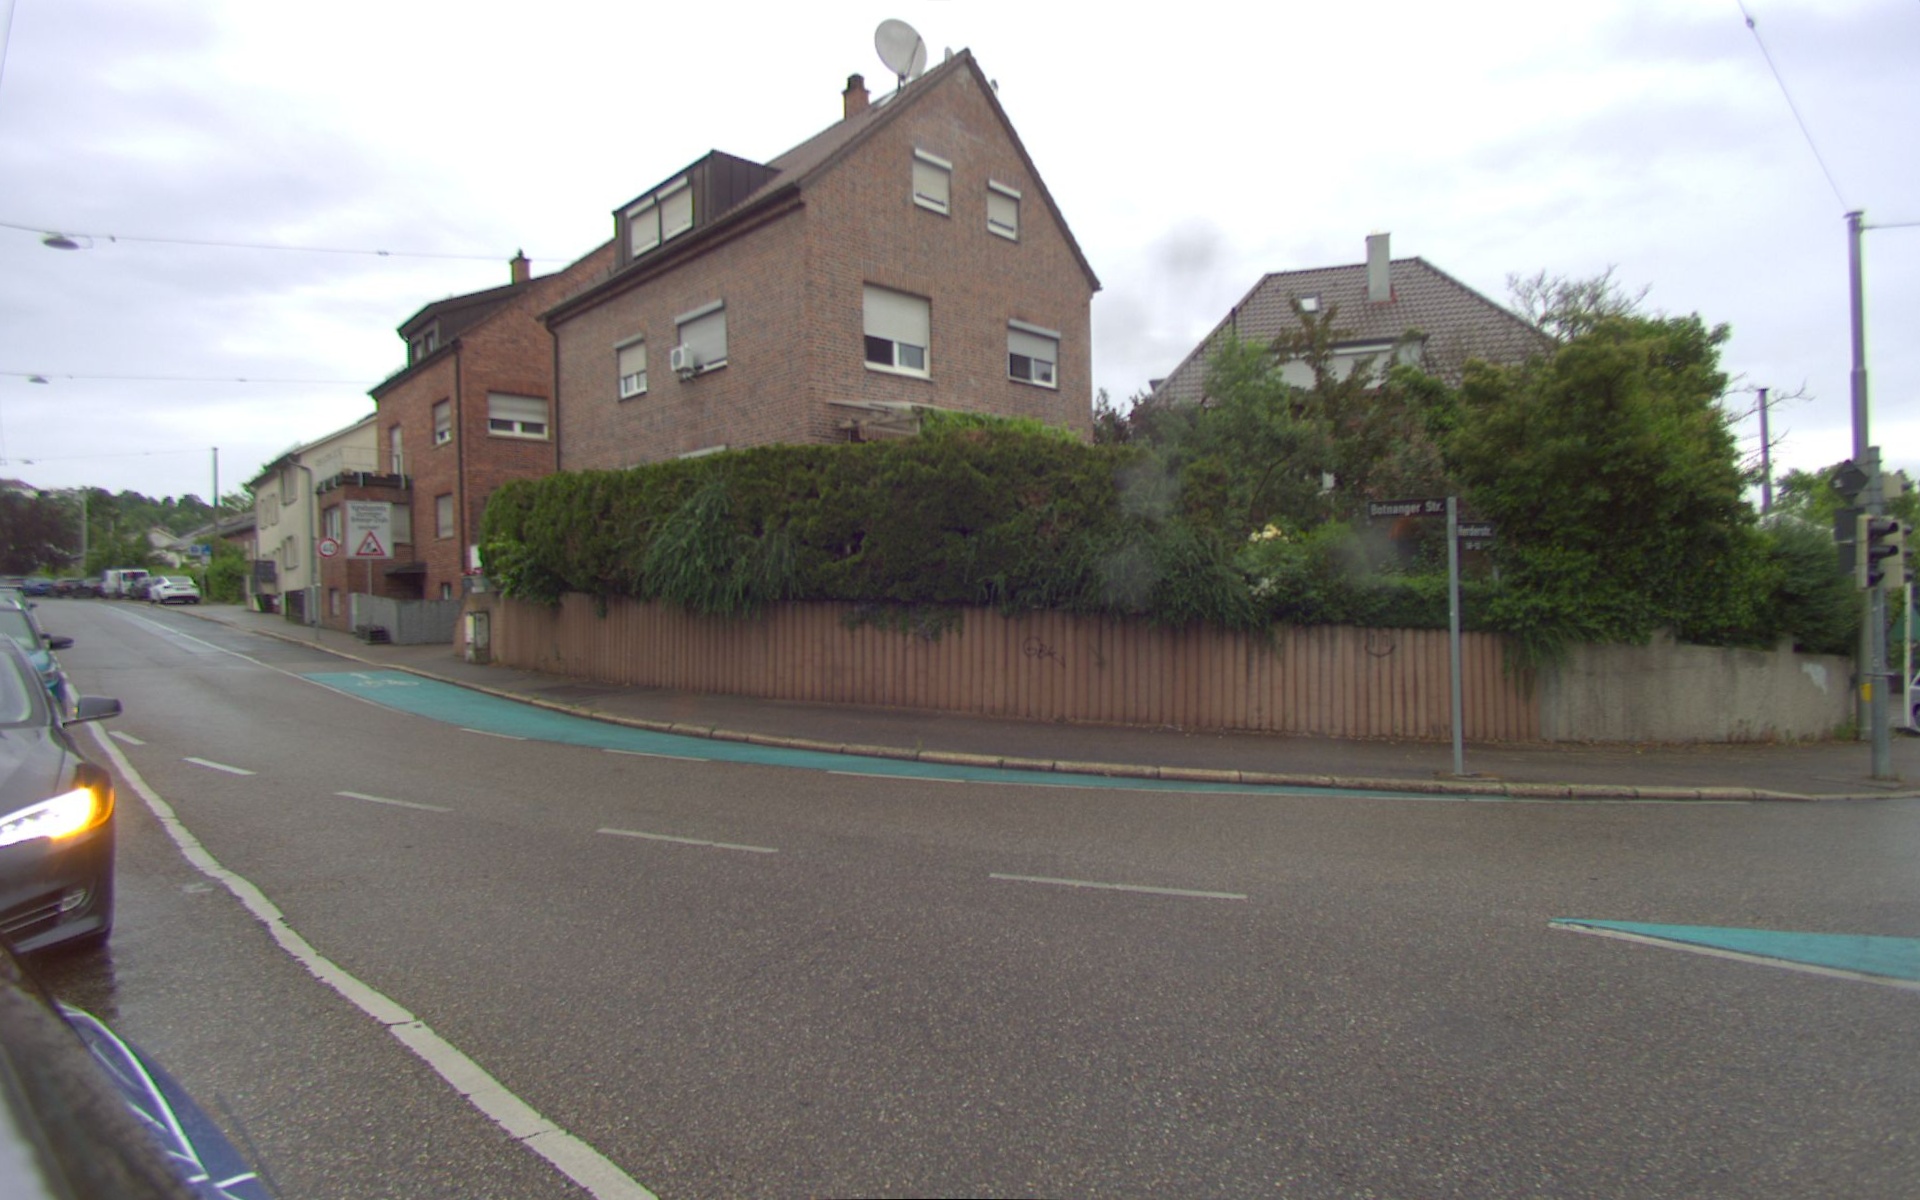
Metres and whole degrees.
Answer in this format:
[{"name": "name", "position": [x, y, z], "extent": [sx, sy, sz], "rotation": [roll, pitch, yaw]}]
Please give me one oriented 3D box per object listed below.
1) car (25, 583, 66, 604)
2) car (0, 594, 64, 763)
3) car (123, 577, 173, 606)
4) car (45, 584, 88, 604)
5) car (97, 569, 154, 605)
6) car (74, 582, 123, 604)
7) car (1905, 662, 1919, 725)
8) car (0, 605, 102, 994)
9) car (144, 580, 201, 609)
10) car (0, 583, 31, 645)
[{"name": "car", "position": [-70.772, -0.495, 78.291], "extent": [3.896, 1.501, 1.605], "rotation": [0, 2, 37]}, {"name": "car", "position": [-10.766, 0.744, 10.669], "extent": [1.764, 1.601, 3.786], "rotation": [0, 0, -45]}, {"name": "car", "position": [-52.268, -0.542, 65.125], "extent": [4.263, 1.817, 1.791], "rotation": [0, 2, 42]}, {"name": "car", "position": [-66.216, -0.432, 74.974], "extent": [3.854, 1.407, 1.634], "rotation": [0, 2, 37]}, {"name": "car", "position": [-56.896, -0.893, 69.003], "extent": [4.545, 2.303, 2.228], "rotation": [0, 2, 41]}, {"name": "car", "position": [-61.287, -0.508, 72.006], "extent": [4.002, 1.501, 1.635], "rotation": [0, 2, 35]}, {"name": "car", "position": [25.677, 2.342, 24.619], "extent": [1.838, 1.644, 4.297], "rotation": [-1, -3, 11]}, {"name": "car", "position": [-5.475, 0.761, 4.789], "extent": [1.844, 1.426, 4.002], "rotation": [0, 0, -45]}, {"name": "car", "position": [-46.345, -0.315, 59.505], "extent": [4.263, 1.577, 1.921], "rotation": [0, 2, 42]}, {"name": "car", "position": [-28.731, 0.453, 29.841], "extent": [4.001, 1.744, 1.792], "rotation": [-2, -2, 44]}]
